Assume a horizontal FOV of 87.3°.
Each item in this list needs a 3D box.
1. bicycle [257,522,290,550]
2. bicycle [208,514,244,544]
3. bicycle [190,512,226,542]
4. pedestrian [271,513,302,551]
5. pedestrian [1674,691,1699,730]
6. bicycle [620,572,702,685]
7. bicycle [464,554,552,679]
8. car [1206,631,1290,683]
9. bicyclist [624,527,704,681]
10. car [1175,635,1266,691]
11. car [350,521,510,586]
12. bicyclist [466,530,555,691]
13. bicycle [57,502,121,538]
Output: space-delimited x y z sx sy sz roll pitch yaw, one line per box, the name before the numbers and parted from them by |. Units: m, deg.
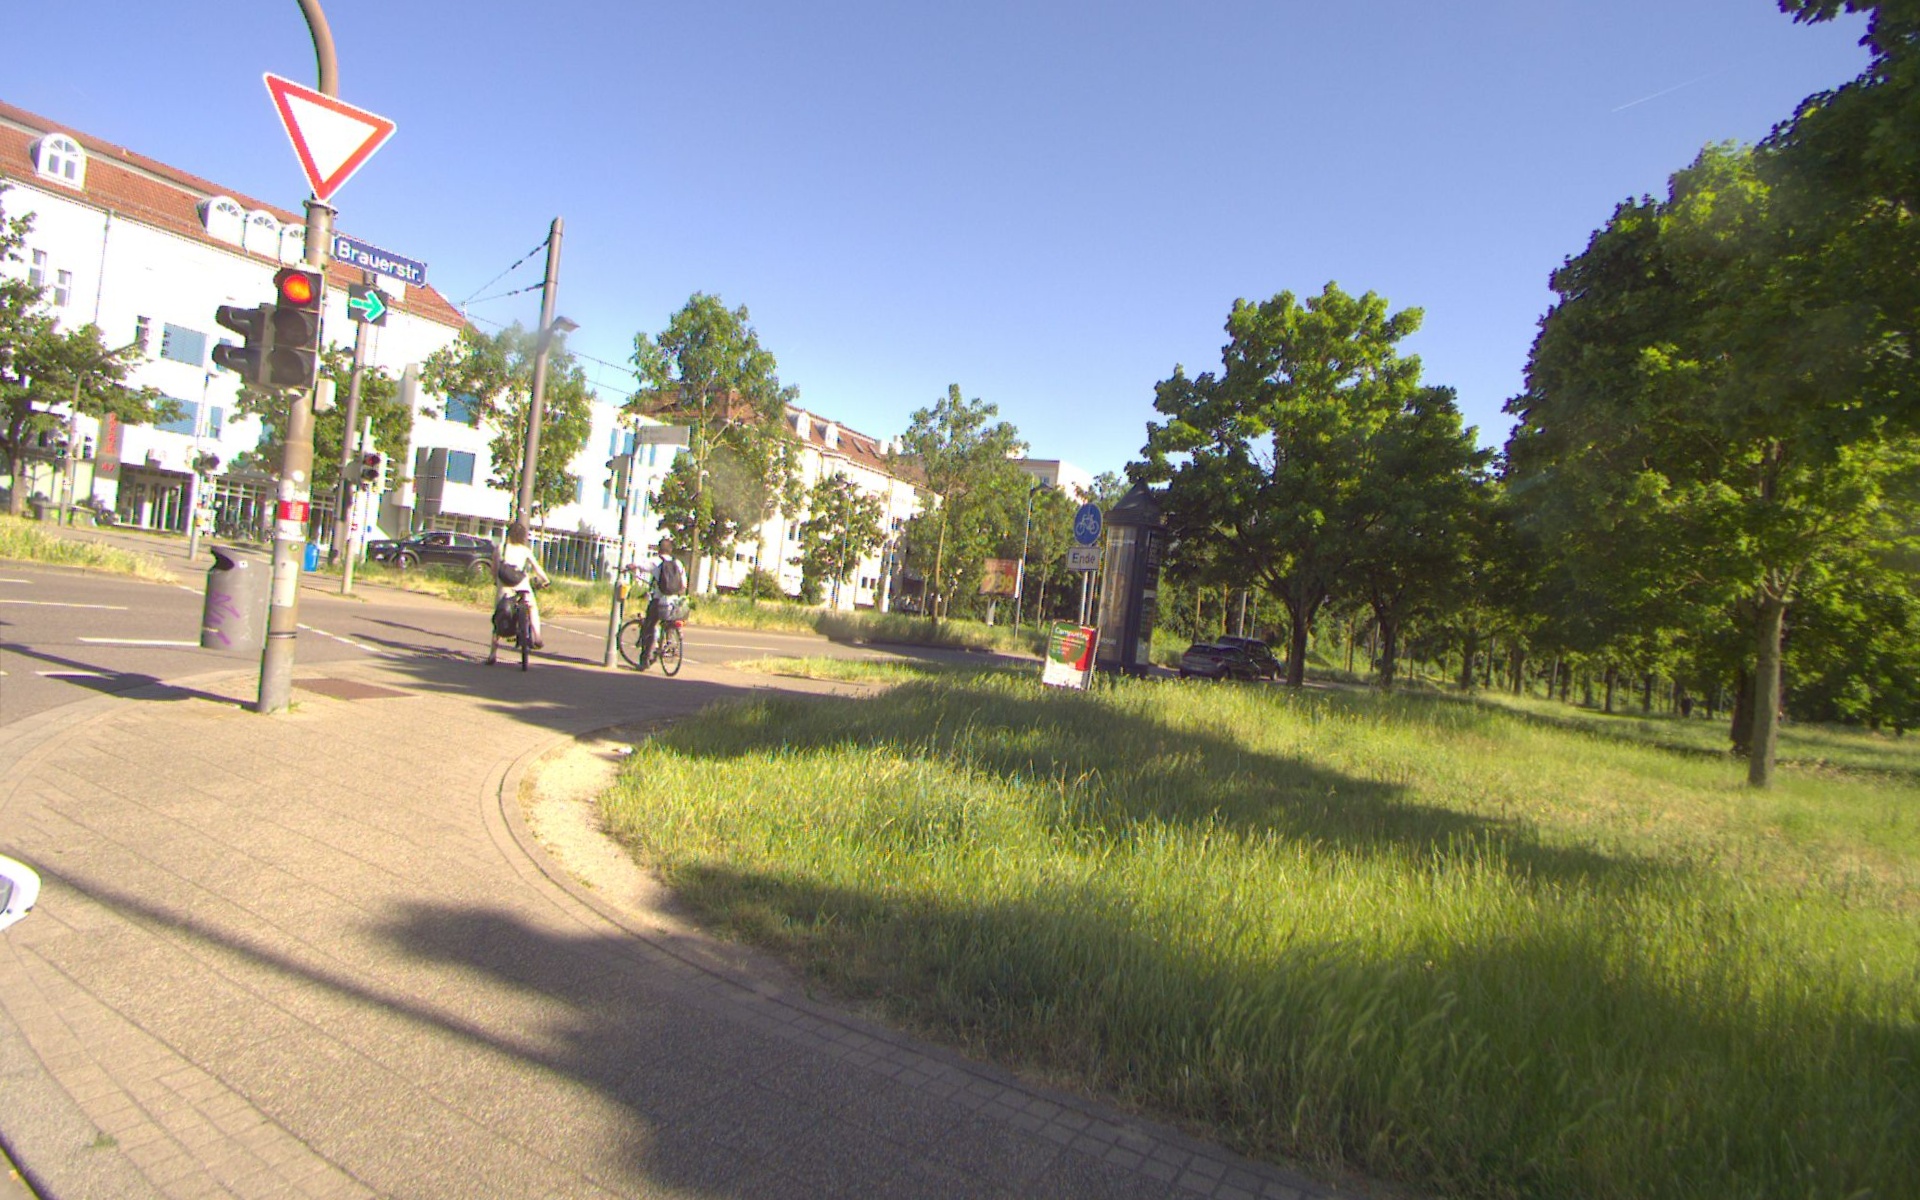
bicycle | -33.526 -3.130 49.131 1.839 1.197 0.561 7 1 32
bicycle | -34.795 -3.364 47.708 1.837 1.197 0.561 7 1 29
bicycle | -34.977 -3.408 46.773 1.837 1.197 0.561 7 1 29
pedestrian | -33.948 -3.420 50.717 0.643 1.745 0.991 7 1 29
pedestrian | 35.023 5.308 48.496 0.727 1.748 0.887 7 1 33
bicycle | -4.247 0.352 14.150 0.782 1.364 2.251 6 0 -22
bicycle | -5.582 0.164 12.540 0.782 1.364 2.068 6 0 -22
car | 13.549 2.703 47.201 1.742 1.820 4.477 6 -4 44
bicyclist | -4.093 0.049 13.869 0.782 1.983 1.006 6 1 -22
car | 9.927 2.408 38.144 1.670 1.595 3.858 6 -4 41
car | -18.686 -1.615 35.611 1.971 1.629 4.498 7 -1 39
bicyclist | -5.563 0.114 12.513 0.782 1.847 1.129 6 1 -22
bicycle | -36.390 -3.323 42.038 0.552 1.197 1.868 7 0 26
